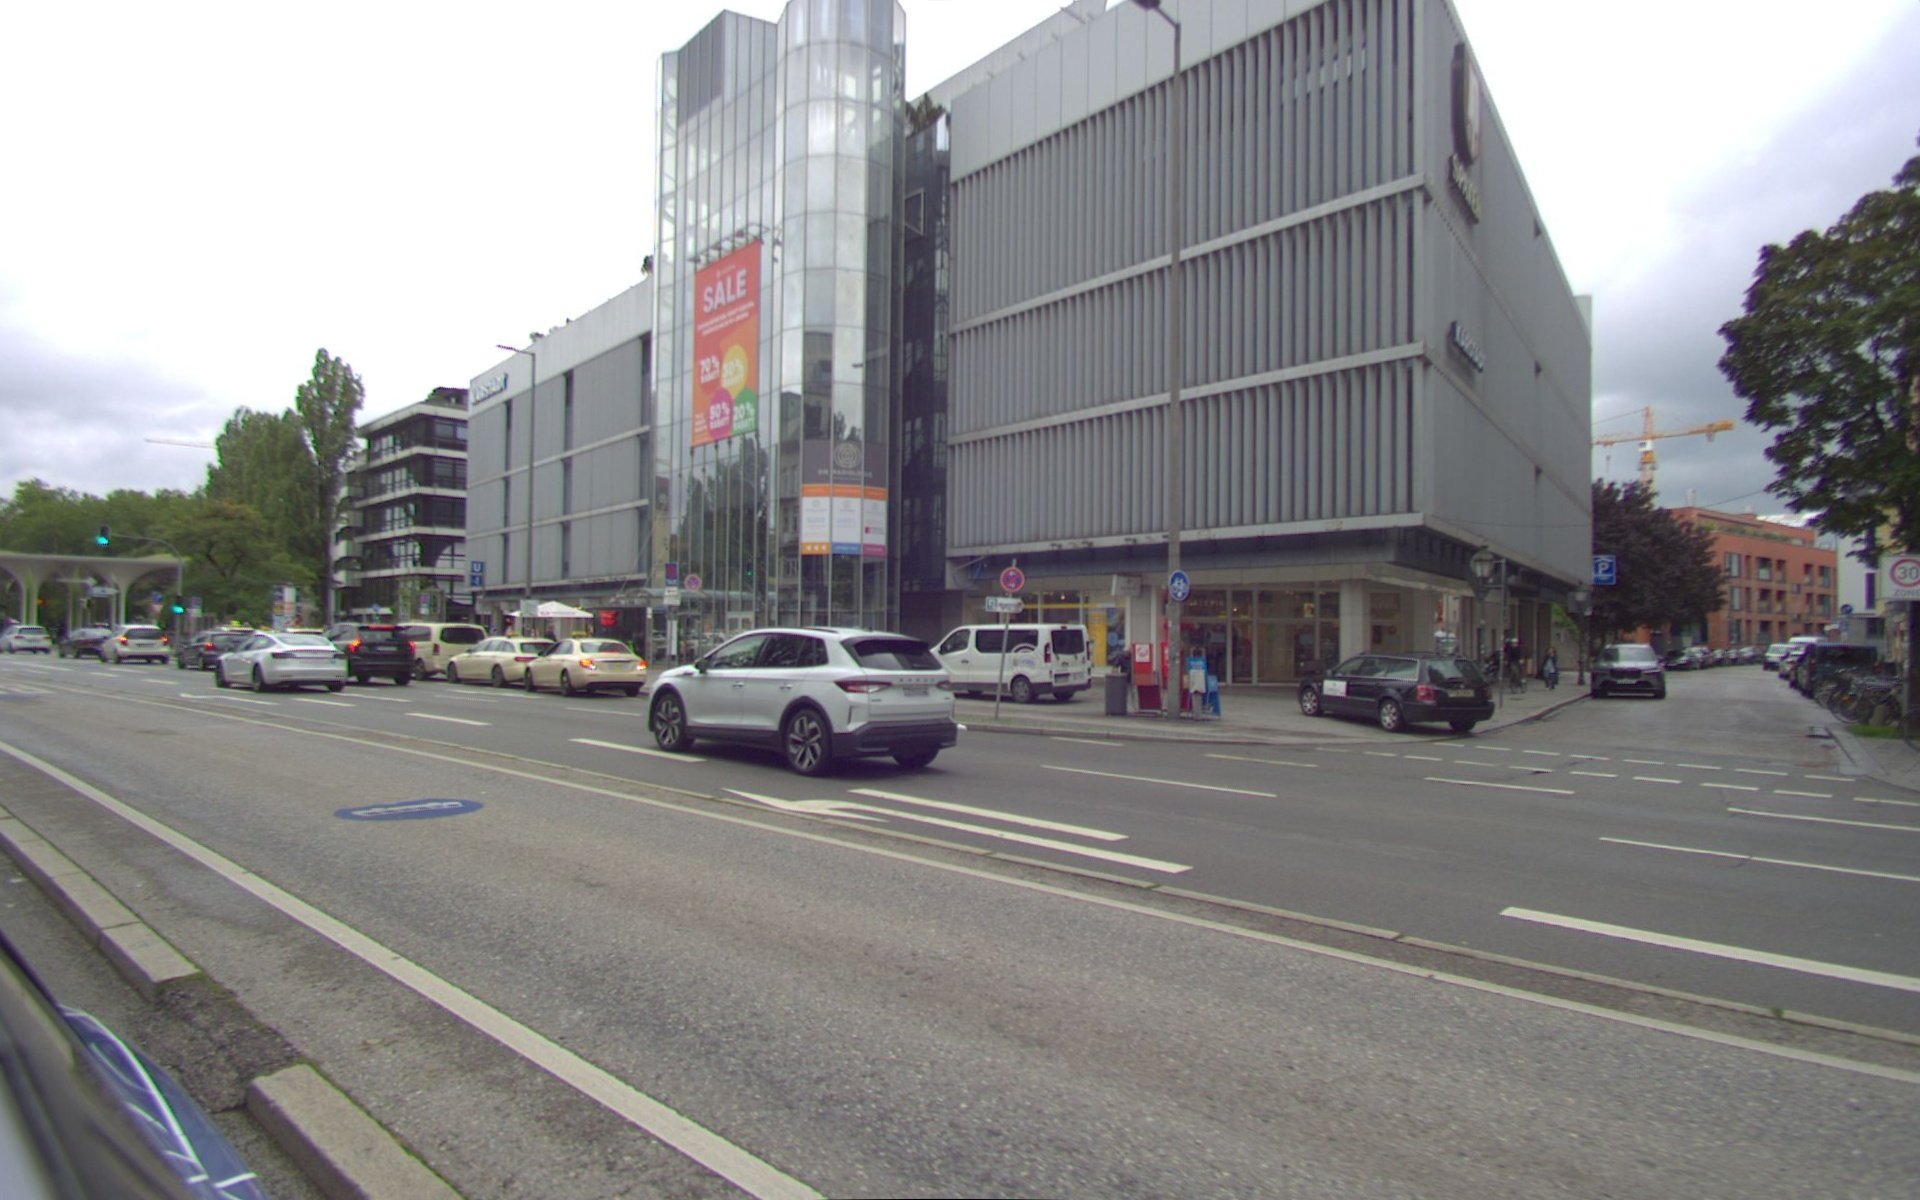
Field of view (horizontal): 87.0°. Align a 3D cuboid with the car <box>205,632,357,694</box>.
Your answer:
[{"bbox_3d":[-16.989,1.517,25.238,4.684,1.405,1.782,-1,-3,39],"label":"car"}]

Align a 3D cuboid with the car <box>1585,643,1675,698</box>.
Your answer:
[{"bbox_3d":[22.128,2.266,33.352,1.999,1.674,4.180,-1,-3,40],"label":"car"}]

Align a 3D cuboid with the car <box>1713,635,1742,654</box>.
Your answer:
[{"bbox_3d":[68.850,3.999,90.812,1.850,1.674,4.180,-1,-3,40],"label":"car"}]

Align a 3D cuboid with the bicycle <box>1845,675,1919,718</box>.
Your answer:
[{"bbox_3d":[22.792,2.349,24.608,1.880,0.971,0.453,-1,-3,41],"label":"bicycle"}]

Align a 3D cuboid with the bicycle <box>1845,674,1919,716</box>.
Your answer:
[{"bbox_3d":[23.133,2.352,24.996,1.880,0.971,0.453,-1,-3,41],"label":"bicycle"}]

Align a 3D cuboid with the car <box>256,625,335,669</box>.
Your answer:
[{"bbox_3d":[-27.291,1.909,41.502,1.863,1.711,4.386,4,-4,-44],"label":"car"}]

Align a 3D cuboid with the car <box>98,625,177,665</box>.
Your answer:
[{"bbox_3d":[-34.425,1.865,42.339,3.999,1.602,1.932,-1,-3,42],"label":"car"}]

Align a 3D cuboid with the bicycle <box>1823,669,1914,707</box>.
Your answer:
[{"bbox_3d":[25.707,2.479,28.684,1.880,0.971,0.453,-1,-3,41],"label":"bicycle"}]

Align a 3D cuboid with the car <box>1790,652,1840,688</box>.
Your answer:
[{"bbox_3d":[46.211,3.735,54.734,1.999,1.833,4.180,-1,-3,40],"label":"car"}]

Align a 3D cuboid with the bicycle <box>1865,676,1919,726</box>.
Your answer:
[{"bbox_3d":[19.854,2.090,20.765,1.880,0.971,0.453,-1,-3,41],"label":"bicycle"}]

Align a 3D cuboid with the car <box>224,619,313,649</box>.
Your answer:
[{"bbox_3d":[-37.154,1.825,54.356,4.268,1.522,1.846,0,-2,21],"label":"car"}]

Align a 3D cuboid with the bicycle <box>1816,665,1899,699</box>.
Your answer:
[{"bbox_3d":[27.454,2.497,30.996,1.880,0.971,0.453,-1,-3,41],"label":"bicycle"}]

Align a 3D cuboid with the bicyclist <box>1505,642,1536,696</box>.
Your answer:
[{"bbox_3d":[17.940,2.191,32.413,0.716,1.685,0.743,-1,-3,41],"label":"bicyclist"}]

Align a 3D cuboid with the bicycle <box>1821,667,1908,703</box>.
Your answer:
[{"bbox_3d":[26.612,2.488,29.821,1.880,0.971,0.453,-1,-3,41],"label":"bicycle"}]

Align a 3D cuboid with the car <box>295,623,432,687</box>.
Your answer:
[{"bbox_3d":[-17.477,1.552,29.558,4.981,1.729,1.997,-1,-3,42],"label":"car"}]

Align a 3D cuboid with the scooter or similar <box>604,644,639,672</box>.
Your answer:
[{"bbox_3d":[-13.753,2.350,41.108,1.369,1.148,0.365,0,-3,16],"label":"scooter or similar"}]

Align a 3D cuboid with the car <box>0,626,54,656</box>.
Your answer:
[{"bbox_3d":[-52.224,2.262,56.313,4.284,1.612,1.974,-1,-3,38],"label":"car"}]

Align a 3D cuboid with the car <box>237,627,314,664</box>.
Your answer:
[{"bbox_3d":[-30.803,2.012,45.484,4.850,1.552,1.924,-2,-3,45],"label":"car"}]

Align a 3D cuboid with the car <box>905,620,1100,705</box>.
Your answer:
[{"bbox_3d":[1.014,1.580,26.561,5.113,2.029,1.971,-2,-3,44],"label":"car"}]

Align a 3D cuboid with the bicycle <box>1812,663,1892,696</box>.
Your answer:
[{"bbox_3d":[28.316,2.506,32.154,1.880,0.971,0.453,-1,-3,41],"label":"bicycle"}]

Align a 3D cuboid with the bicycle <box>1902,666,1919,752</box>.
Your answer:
[{"bbox_3d":[15.976,1.707,15.446,2.304,1.318,0.837,-2,-4,44],"label":"bicycle"}]

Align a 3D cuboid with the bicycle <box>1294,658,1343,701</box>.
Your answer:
[{"bbox_3d":[9.657,2.122,27.260,0.556,1.091,1.800,-2,-4,44],"label":"bicycle"}]

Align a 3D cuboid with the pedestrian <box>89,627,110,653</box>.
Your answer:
[{"bbox_3d":[-51.534,2.389,60.609,0.752,1.563,0.638,0,-1,10],"label":"pedestrian"}]

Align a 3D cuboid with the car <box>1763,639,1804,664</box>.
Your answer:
[{"bbox_3d":[58.766,3.643,72.225,2.000,1.720,4.178,-1,-3,42],"label":"car"}]

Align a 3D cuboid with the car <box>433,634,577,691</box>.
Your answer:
[{"bbox_3d":[-13.748,1.818,30.448,5.082,1.564,1.957,-1,-3,41],"label":"car"}]

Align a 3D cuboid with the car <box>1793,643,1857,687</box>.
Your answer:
[{"bbox_3d":[37.204,2.753,43.581,1.999,1.742,4.180,-1,-3,40],"label":"car"}]

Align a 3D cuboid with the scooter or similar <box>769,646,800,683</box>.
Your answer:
[{"bbox_3d":[-5.756,2.100,33.169,0.990,1.182,0.253,0,-2,22],"label":"scooter or similar"}]

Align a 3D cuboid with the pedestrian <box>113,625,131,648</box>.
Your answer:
[{"bbox_3d":[-65.564,2.824,79.175,0.978,1.791,0.851,-1,-3,35],"label":"pedestrian"}]

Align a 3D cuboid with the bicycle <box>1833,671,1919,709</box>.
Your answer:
[{"bbox_3d":[25.290,2.473,27.873,1.880,0.971,0.453,-1,-3,41],"label":"bicycle"}]

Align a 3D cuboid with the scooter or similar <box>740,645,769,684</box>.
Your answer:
[{"bbox_3d":[-6.606,2.075,32.530,0.993,1.233,0.252,-1,-3,29],"label":"scooter or similar"}]

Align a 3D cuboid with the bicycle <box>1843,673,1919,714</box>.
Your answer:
[{"bbox_3d":[23.650,2.358,25.652,1.880,0.971,0.453,-1,-3,41],"label":"bicycle"}]

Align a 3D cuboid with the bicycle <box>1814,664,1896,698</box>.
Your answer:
[{"bbox_3d":[27.809,2.501,31.466,1.880,0.971,0.453,-1,-3,41],"label":"bicycle"}]

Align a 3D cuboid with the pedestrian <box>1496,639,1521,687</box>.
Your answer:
[{"bbox_3d":[20.010,2.287,36.912,0.751,1.685,0.708,-1,-3,32],"label":"pedestrian"}]

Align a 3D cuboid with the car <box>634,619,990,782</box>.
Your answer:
[{"bbox_3d":[-1.915,1.073,12.254,4.353,1.615,1.889,-1,-3,41],"label":"car"}]

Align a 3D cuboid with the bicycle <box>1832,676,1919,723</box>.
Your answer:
[{"bbox_3d":[20.513,2.190,22.339,1.880,0.971,0.453,-1,-3,41],"label":"bicycle"}]

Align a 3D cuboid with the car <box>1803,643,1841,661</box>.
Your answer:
[{"bbox_3d":[84.949,5.110,99.737,3.935,1.674,2.004,2,-3,-37],"label":"car"}]

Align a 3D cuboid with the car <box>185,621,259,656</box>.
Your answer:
[{"bbox_3d":[-36.557,1.897,50.075,4.466,1.624,1.573,-1,-3,35],"label":"car"}]

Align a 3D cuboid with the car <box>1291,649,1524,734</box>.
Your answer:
[{"bbox_3d":[8.704,1.738,20.216,1.896,1.450,4.518,1,-3,-13],"label":"car"}]

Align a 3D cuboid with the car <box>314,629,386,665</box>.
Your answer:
[{"bbox_3d":[-27.564,2.118,45.708,4.000,1.548,1.733,-1,-3,43],"label":"car"}]

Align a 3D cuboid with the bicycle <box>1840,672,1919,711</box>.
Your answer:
[{"bbox_3d":[24.994,2.469,27.293,1.880,0.971,0.453,-1,-3,41],"label":"bicycle"}]

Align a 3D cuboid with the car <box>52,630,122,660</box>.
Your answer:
[{"bbox_3d":[-42.046,2.147,48.727,4.682,1.420,1.712,-1,-3,39],"label":"car"}]

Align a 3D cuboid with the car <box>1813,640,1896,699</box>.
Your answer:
[{"bbox_3d":[30.983,2.361,35.144,1.999,1.878,4.180,-1,-3,40],"label":"car"}]

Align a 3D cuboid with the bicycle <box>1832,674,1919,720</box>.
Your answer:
[{"bbox_3d":[21.022,2.195,22.947,1.880,0.971,0.453,-1,-3,41],"label":"bicycle"}]

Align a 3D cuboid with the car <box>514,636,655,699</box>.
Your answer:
[{"bbox_3d":[-9.796,1.701,26.157,1.833,1.480,4.990,5,-5,-39],"label":"car"}]

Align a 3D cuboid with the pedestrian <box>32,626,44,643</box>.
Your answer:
[{"bbox_3d":[-74.630,2.798,81.889,0.590,1.348,0.543,-1,-3,34],"label":"pedestrian"}]

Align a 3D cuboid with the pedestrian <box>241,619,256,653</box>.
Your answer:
[{"bbox_3d":[-36.956,1.888,52.579,0.428,1.742,0.519,0,-1,34],"label":"pedestrian"}]

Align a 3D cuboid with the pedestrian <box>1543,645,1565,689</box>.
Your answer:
[{"bbox_3d":[21.075,2.362,35.906,0.612,1.517,0.558,-1,-3,37],"label":"pedestrian"}]

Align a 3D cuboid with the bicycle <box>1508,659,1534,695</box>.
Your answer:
[{"bbox_3d":[18.005,2.460,32.456,0.353,1.088,1.665,-1,-3,42],"label":"bicycle"}]

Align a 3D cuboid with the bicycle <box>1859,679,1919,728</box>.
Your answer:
[{"bbox_3d":[20.179,2.182,21.269,1.880,0.971,0.453,-1,-3,41],"label":"bicycle"}]

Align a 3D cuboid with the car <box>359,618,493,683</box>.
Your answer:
[{"bbox_3d":[-18.074,1.663,34.150,5.314,2.029,1.974,-1,-3,38],"label":"car"}]

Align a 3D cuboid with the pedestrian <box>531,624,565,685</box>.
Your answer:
[{"bbox_3d":[-12.920,1.703,31.726,0.775,1.881,0.849,3,-3,-30],"label":"pedestrian"}]

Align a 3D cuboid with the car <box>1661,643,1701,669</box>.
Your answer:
[{"bbox_3d":[48.398,3.753,67.884,1.850,1.674,4.180,-1,-3,40],"label":"car"}]

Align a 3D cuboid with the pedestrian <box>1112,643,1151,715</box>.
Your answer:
[{"bbox_3d":[3.732,1.700,21.984,0.655,1.506,0.540,-1,-3,40],"label":"pedestrian"}]

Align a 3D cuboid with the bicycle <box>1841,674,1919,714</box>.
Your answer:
[{"bbox_3d":[24.364,2.463,26.546,1.880,0.971,0.453,-1,-3,41],"label":"bicycle"}]

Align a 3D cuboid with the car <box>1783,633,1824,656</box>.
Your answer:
[{"bbox_3d":[67.033,3.521,80.397,4.175,1.720,2.079,3,-3,-45],"label":"car"}]

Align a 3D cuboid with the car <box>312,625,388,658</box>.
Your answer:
[{"bbox_3d":[-30.680,2.059,50.897,3.993,1.579,1.889,-1,-3,37],"label":"car"}]

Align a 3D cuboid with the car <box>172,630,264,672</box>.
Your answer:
[{"bbox_3d":[-27.782,1.892,37.870,3.995,1.477,1.766,-1,-3,39],"label":"car"}]
